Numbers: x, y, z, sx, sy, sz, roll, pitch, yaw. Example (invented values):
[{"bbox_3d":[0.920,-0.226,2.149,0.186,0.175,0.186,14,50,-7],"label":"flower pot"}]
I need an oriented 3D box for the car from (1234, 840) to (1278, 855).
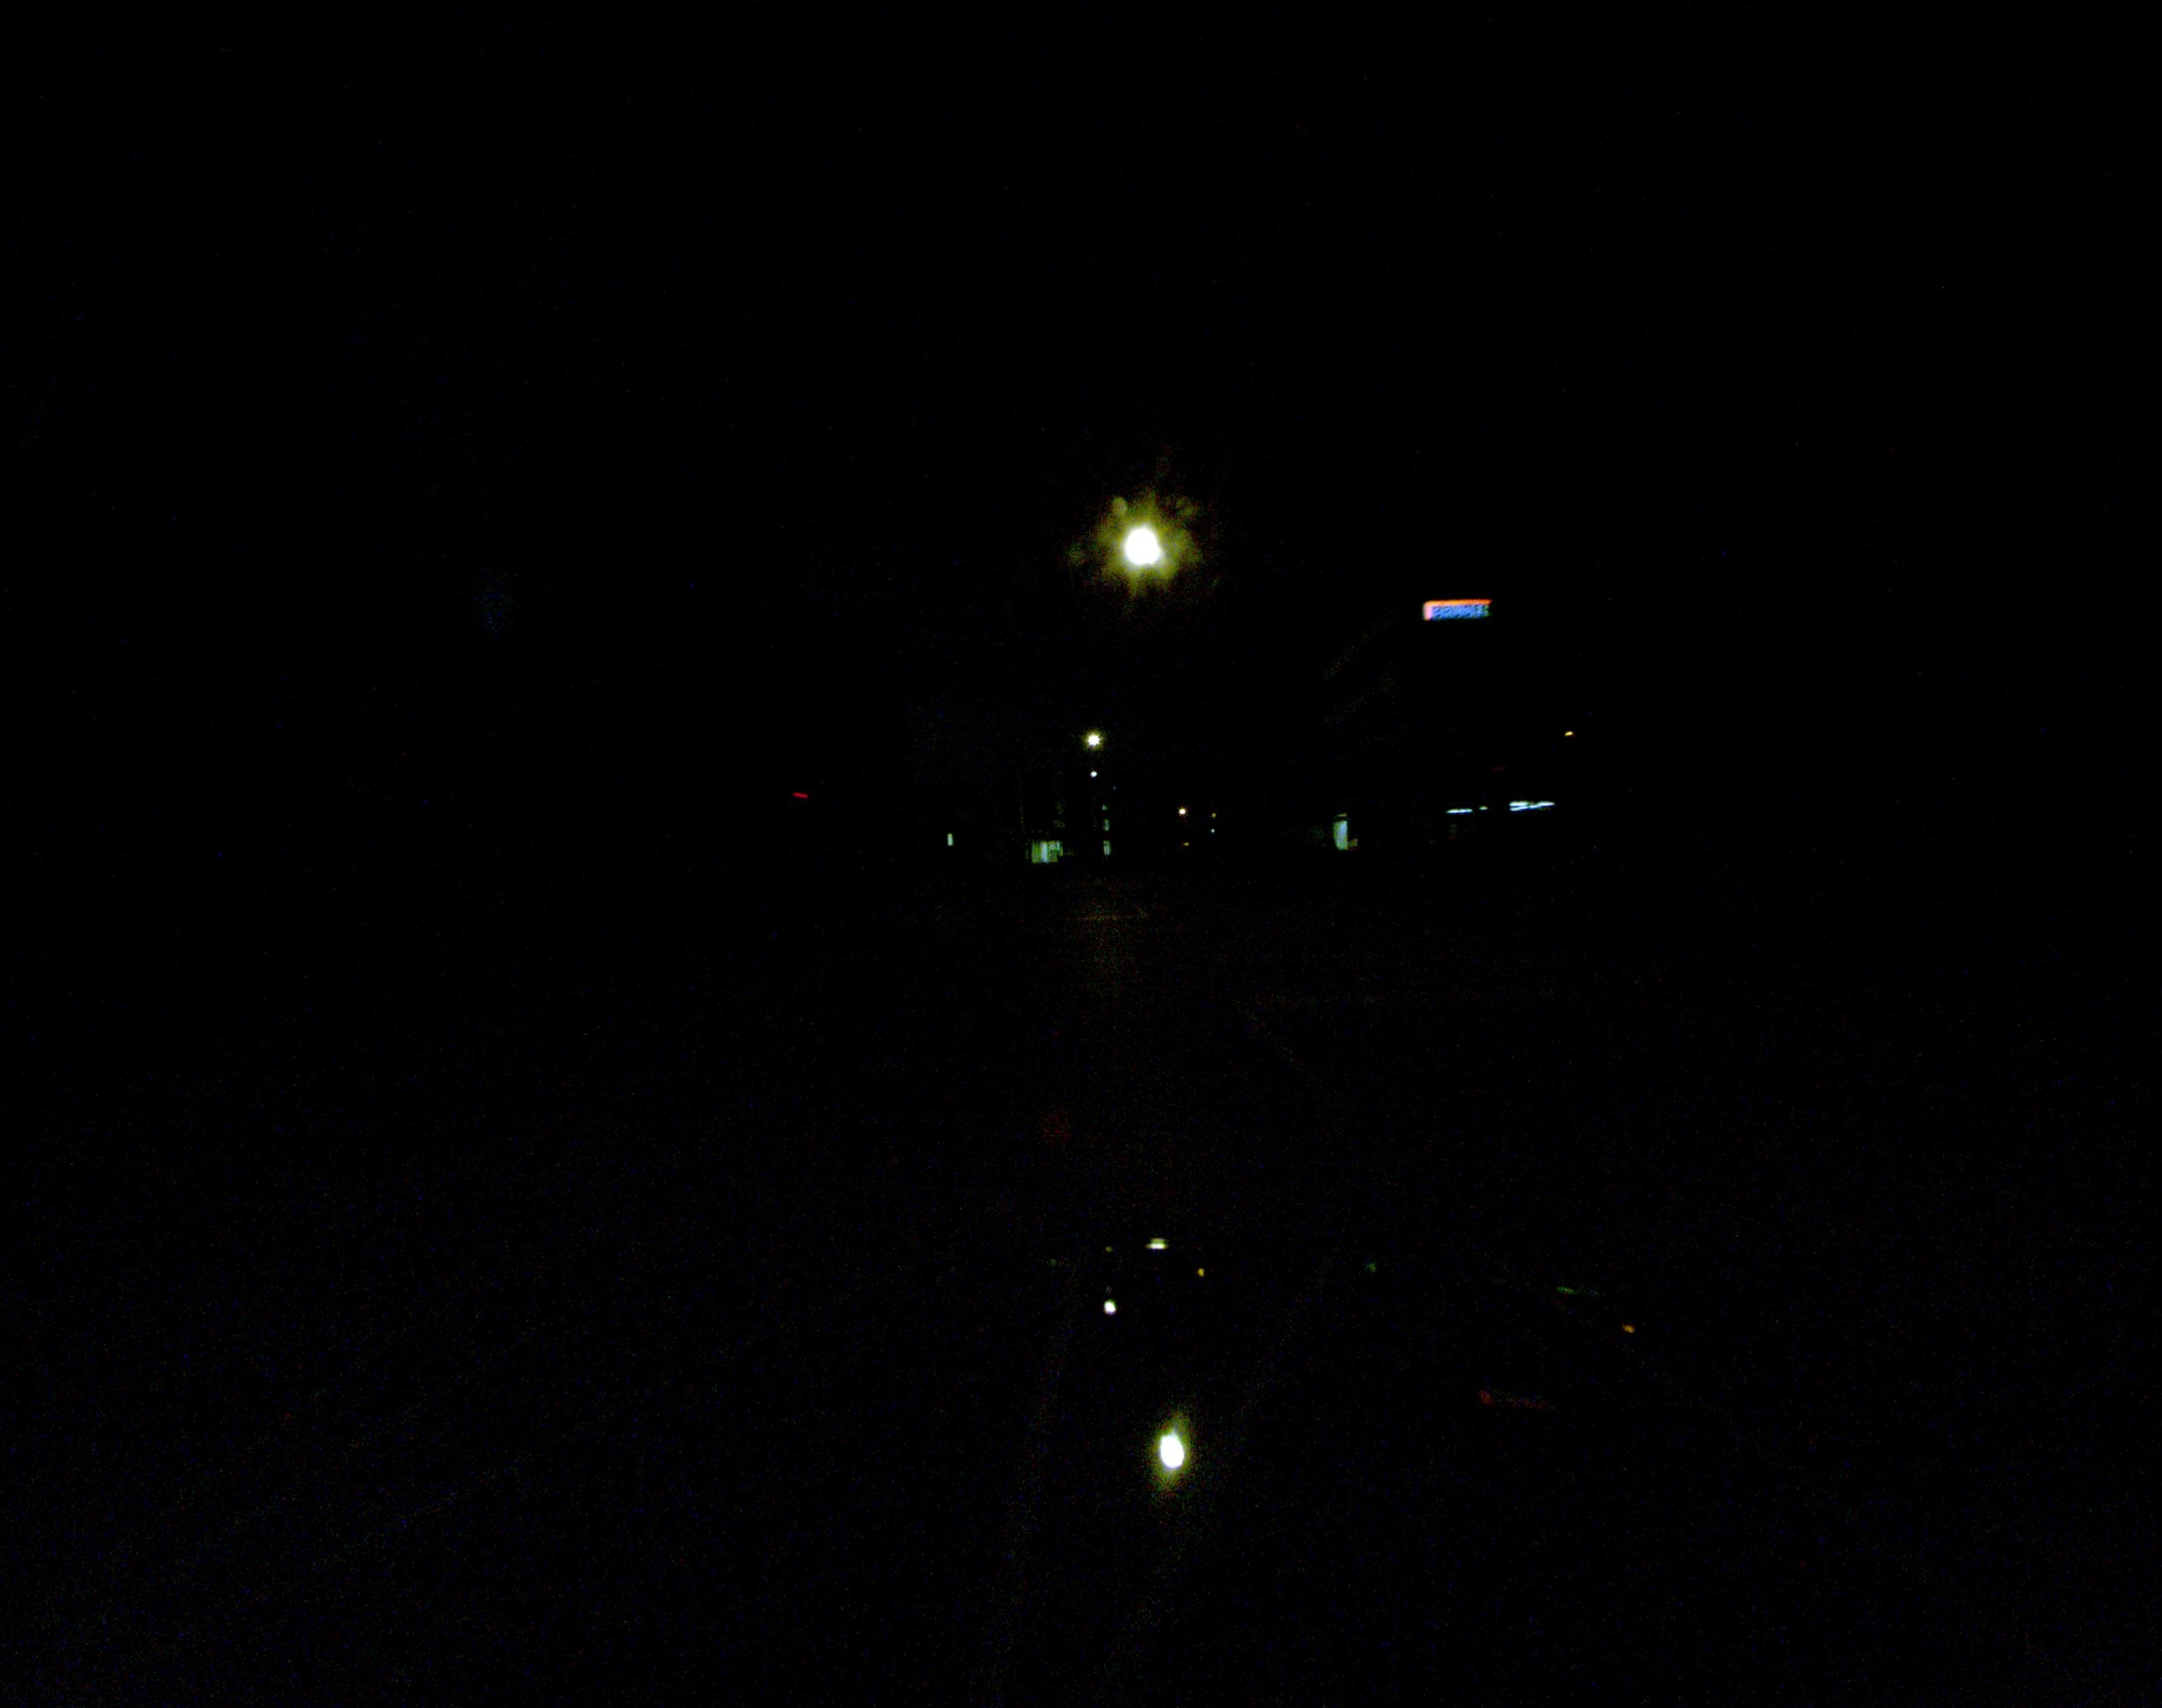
[{"bbox_3d":[19.101,-0.720,83.285,4.414,1.474,1.893,-3,1,5],"label":"car"}]

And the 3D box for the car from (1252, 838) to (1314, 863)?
[{"bbox_3d":[16.145,-0.292,60.856,4.414,1.671,1.963,-3,1,3],"label":"car"}]

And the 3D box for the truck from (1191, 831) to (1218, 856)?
[{"bbox_3d":[21.860,-1.927,133.778,2.749,4.011,9.572,-3,1,20],"label":"truck"}]

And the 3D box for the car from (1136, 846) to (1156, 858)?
[{"bbox_3d":[11.625,-0.433,135.418,1.995,2.002,4.918,-2,1,22],"label":"car"}]

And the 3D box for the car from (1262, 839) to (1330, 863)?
[{"bbox_3d":[15.709,-0.236,55.710,4.457,1.444,2.062,-3,1,8],"label":"car"}]

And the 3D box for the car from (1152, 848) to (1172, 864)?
[{"bbox_3d":[8.878,0.206,83.018,1.869,1.583,4.497,-3,1,10],"label":"car"}]

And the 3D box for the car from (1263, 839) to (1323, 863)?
[{"bbox_3d":[16.257,-0.252,58.368,4.141,1.570,1.842,-3,1,5],"label":"car"}]

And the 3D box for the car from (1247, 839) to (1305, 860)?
[{"bbox_3d":[16.243,-0.398,63.444,4.414,1.470,1.851,-3,1,5],"label":"car"}]

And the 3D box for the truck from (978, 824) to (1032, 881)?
[{"bbox_3d":[-5.493,-0.131,56.589,2.762,3.761,9.136,-3,1,1],"label":"truck"}]

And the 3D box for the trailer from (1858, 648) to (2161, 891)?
[{"bbox_3d":[18.737,-1.443,11.170,3.062,3.909,15.017,-4,0,16],"label":"trailer"}]

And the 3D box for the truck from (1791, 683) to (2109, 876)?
[{"bbox_3d":[20.907,-1.622,18.740,3.062,3.910,4.508,-4,1,16],"label":"truck"}]

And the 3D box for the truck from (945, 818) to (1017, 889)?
[{"bbox_3d":[-5.860,-0.086,46.366,2.762,3.761,10.224,-3,1,0],"label":"truck"}]

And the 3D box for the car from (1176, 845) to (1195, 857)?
[{"bbox_3d":[15.993,-0.482,116.228,1.946,1.707,5.204,-3,1,17],"label":"car"}]

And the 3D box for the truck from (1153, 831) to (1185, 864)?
[{"bbox_3d":[11.889,-0.886,101.624,2.776,4.096,9.349,-3,1,14],"label":"truck"}]

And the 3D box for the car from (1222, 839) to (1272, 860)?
[{"bbox_3d":[16.019,-0.463,73.389,4.413,1.805,1.963,-3,1,5],"label":"car"}]

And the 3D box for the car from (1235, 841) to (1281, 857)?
[{"bbox_3d":[18.837,-0.497,80.995,4.414,1.444,1.828,-3,1,5],"label":"car"}]

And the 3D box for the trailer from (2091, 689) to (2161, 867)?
[{"bbox_3d":[24.254,-1.653,11.788,3.061,4.124,15.022,-4,0,23],"label":"trailer"}]

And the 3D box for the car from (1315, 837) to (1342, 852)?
[{"bbox_3d":[27.263,-1.082,83.951,1.906,1.449,4.466,-4,0,7],"label":"car"}]

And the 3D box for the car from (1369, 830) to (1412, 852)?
[{"bbox_3d":[25.062,-1.046,61.682,1.998,1.632,4.204,-4,0,5],"label":"car"}]

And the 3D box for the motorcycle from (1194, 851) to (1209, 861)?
[{"bbox_3d":[15.339,0.204,96.672,1.693,1.095,0.531,-6,2,-17],"label":"motorcycle"}]

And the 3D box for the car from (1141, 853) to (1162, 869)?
[{"bbox_3d":[6.760,0.677,73.005,1.818,1.363,4.361,-3,0,4],"label":"car"}]

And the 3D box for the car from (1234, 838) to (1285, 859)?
[{"bbox_3d":[17.740,-0.575,75.764,4.617,1.805,1.963,-3,1,5],"label":"car"}]

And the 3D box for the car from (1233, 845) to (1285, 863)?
[{"bbox_3d":[16.019,0.021,68.620,4.275,1.386,1.828,-3,1,5],"label":"car"}]
